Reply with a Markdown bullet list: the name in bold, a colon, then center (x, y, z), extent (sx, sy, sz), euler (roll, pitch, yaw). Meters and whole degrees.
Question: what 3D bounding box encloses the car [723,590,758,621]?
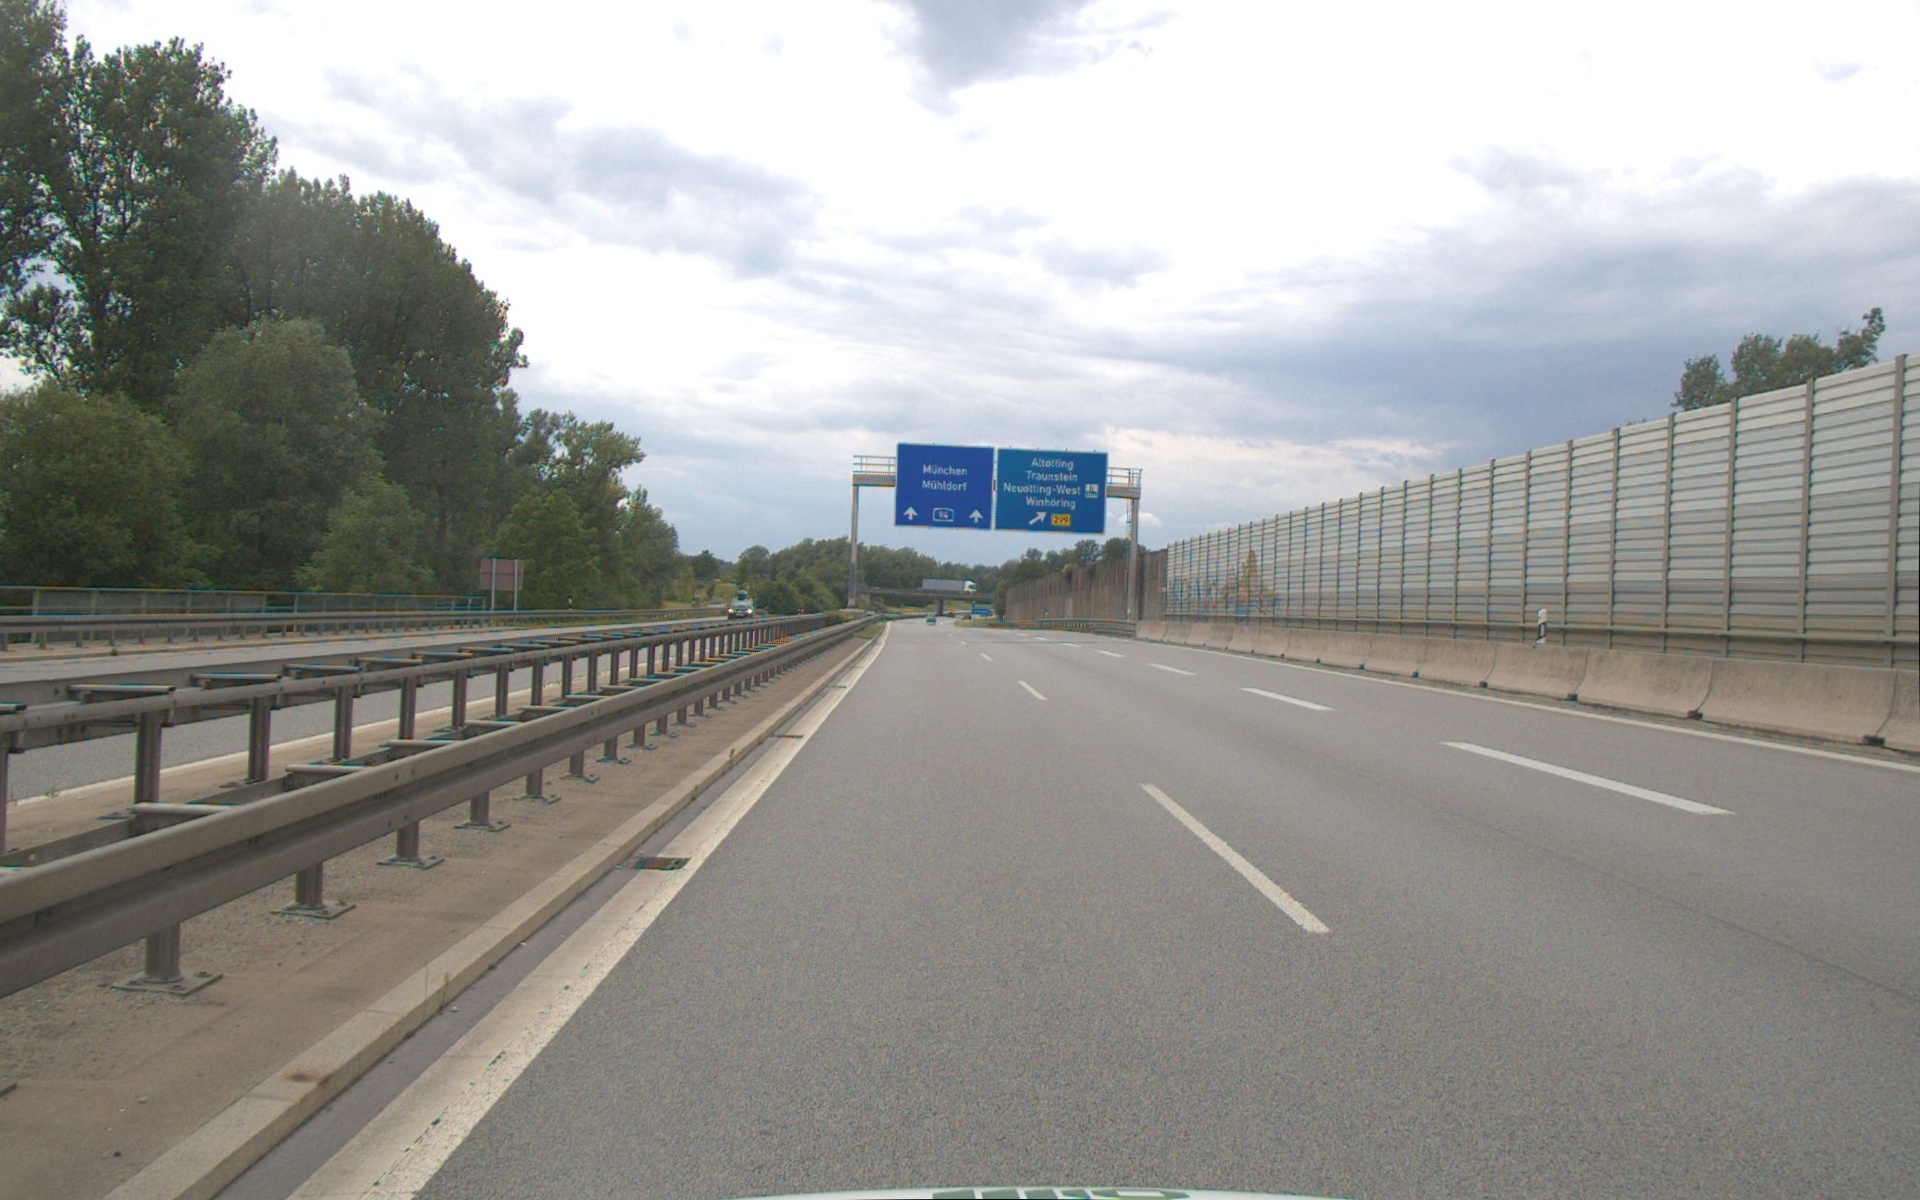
- **car**: center (-15.118, 0.398, 114.183), extent (1.954, 2.037, 4.740), euler (1, -1, -3)
